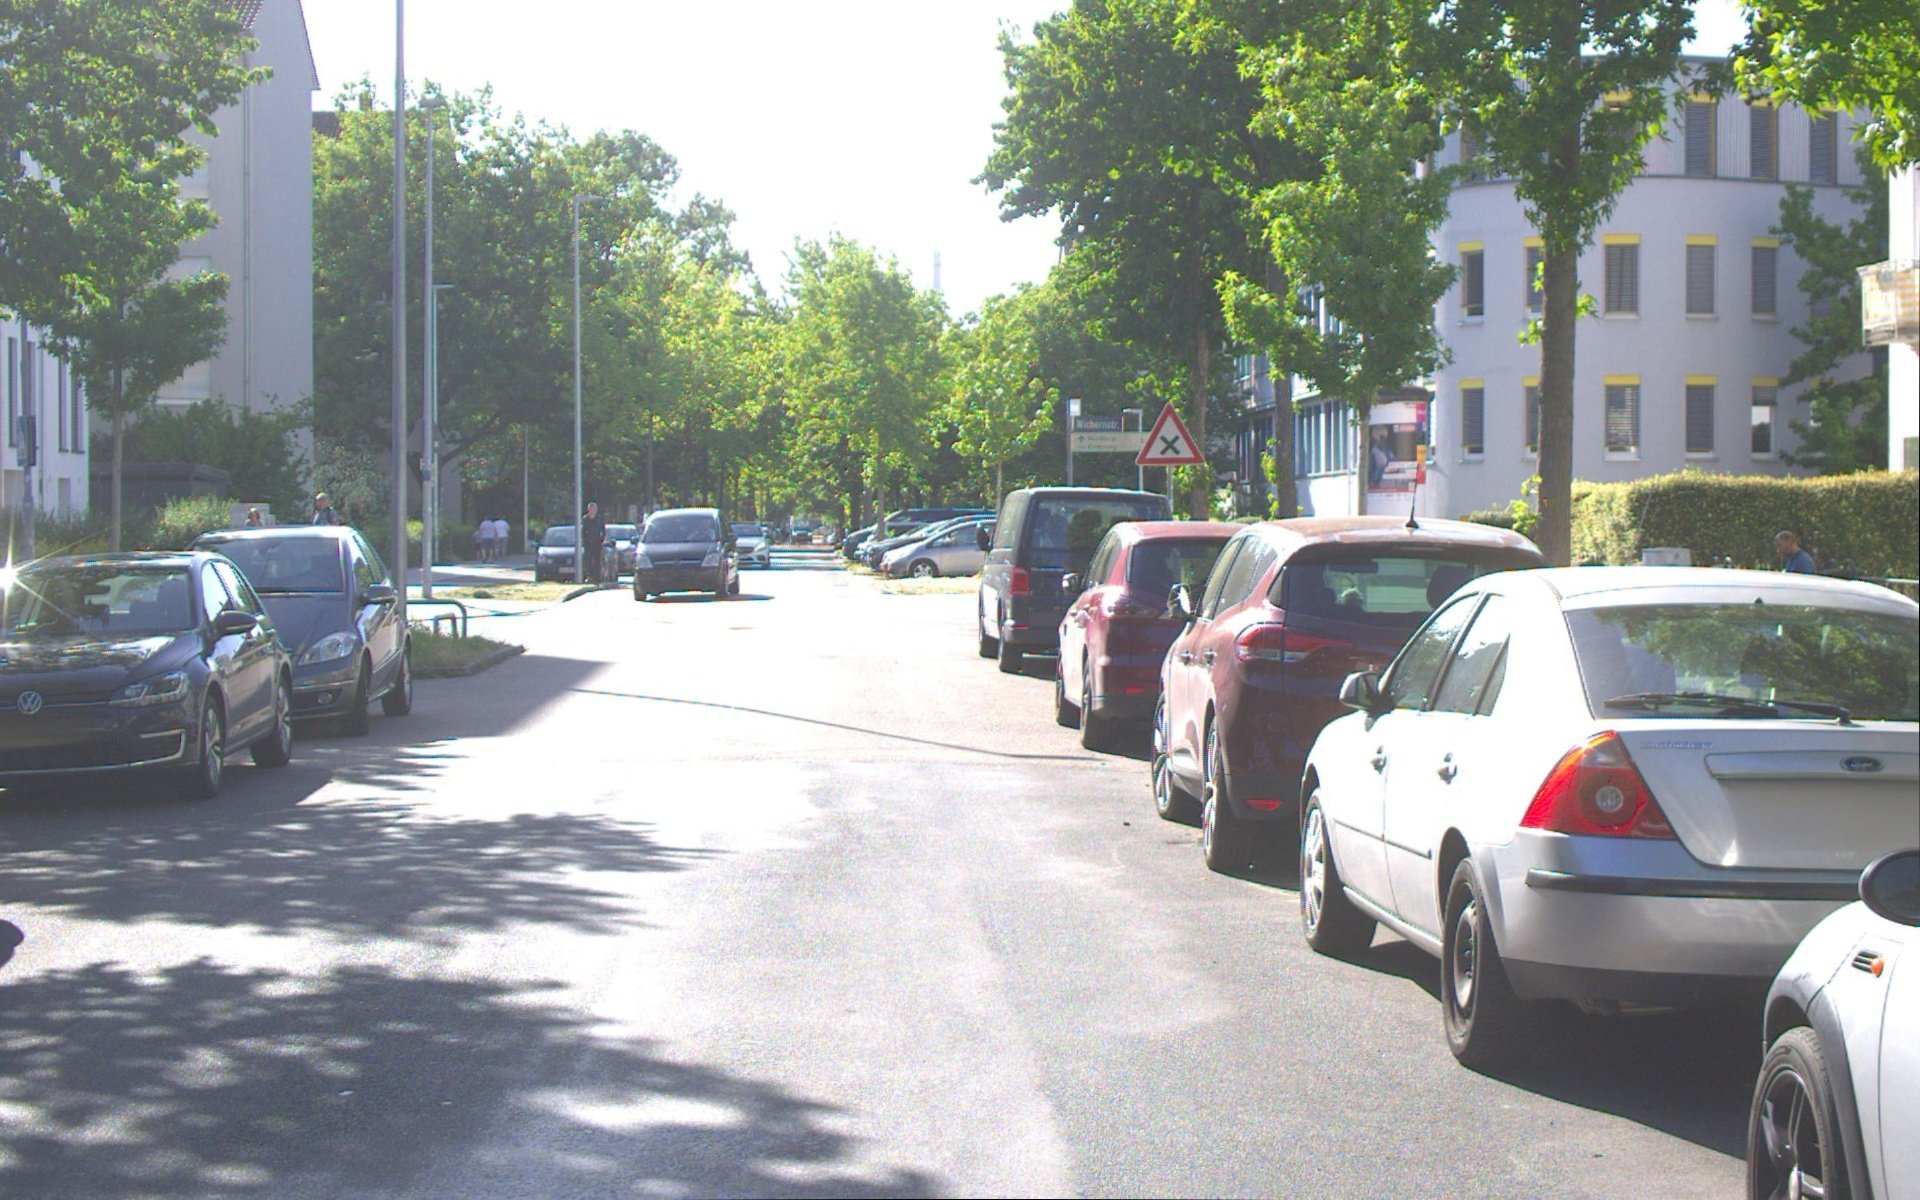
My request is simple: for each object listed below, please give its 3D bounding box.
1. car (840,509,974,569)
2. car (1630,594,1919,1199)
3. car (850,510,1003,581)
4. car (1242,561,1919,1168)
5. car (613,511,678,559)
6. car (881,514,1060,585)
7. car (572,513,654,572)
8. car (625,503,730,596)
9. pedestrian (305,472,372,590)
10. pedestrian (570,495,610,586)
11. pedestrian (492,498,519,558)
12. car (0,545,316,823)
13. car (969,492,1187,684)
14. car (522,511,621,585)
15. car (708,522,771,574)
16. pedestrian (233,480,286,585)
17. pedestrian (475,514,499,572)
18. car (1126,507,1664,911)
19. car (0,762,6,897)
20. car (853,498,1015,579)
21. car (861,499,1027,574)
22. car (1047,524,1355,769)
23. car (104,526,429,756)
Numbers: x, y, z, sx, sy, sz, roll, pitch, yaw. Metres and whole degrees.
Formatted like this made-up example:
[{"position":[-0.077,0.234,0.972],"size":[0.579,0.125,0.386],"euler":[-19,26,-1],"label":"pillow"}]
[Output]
[{"position":[-1.680,-1.930,108.618],"size":[3.986,1.875,2.001],"euler":[0,1,-9],"label":"car"},{"position":[2.389,0.766,5.353],"size":[1.788,1.448,3.782],"euler":[1,1,-3],"label":"car"},{"position":[-0.924,-1.476,92.522],"size":[3.986,1.824,2.000],"euler":[-1,2,-4],"label":"car"},{"position":[2.219,0.667,11.114],"size":[1.897,1.469,4.700],"euler":[2,1,-3],"label":"car"},{"position":[-10.812,-2.245,118.301],"size":[1.993,1.579,4.001],"euler":[-1,2,-2],"label":"car"},{"position":[0.234,-1.186,80.008],"size":[3.986,1.581,1.727],"euler":[-1,2,-6],"label":"car"},{"position":[-9.717,-1.630,96.541],"size":[1.993,1.579,4.001],"euler":[-1,2,-2],"label":"car"},{"position":[-5.074,-0.930,62.127],"size":[1.783,1.603,4.001],"euler":[-1,1,-3],"label":"car"},{"position":[-10.634,-1.184,58.868],"size":[0.859,2.006,0.981],"euler":[0,2,6],"label":"pedestrian"},{"position":[-7.736,-1.248,71.831],"size":[0.715,1.894,0.837],"euler":[-1,2,-12],"label":"pedestrian"},{"position":[-15.401,-2.439,116.382],"size":[0.859,2.006,0.981],"euler":[-1,2,-9],"label":"pedestrian"},{"position":[-5.300,0.453,21.166],"size":[1.993,1.448,4.263],"euler":[-3,2,-3],"label":"car"},{"position":[1.216,-0.184,37.680],"size":[1.970,1.942,4.986],"euler":[0,1,-3],"label":"car"},{"position":[-9.158,-1.256,81.265],"size":[1.993,1.665,4.001],"euler":[-1,2,-2],"label":"car"},{"position":[-6.990,-1.665,109.212],"size":[1.895,1.555,4.001],"euler":[-1,2,-3],"label":"car"},{"position":[-13.555,-1.306,66.537],"size":[0.859,2.006,0.981],"euler":[-1,2,-4],"label":"pedestrian"},{"position":[-15.502,-1.864,112.637],"size":[0.761,1.894,0.819],"euler":[-1,2,-8],"label":"pedestrian"},{"position":[2.006,0.421,17.187],"size":[1.907,1.693,4.314],"euler":[2,2,-2],"label":"car"},{"position":[-4.795,0.539,12.287],"size":[1.710,1.539,3.931],"euler":[-3,1,-2],"label":"car"},{"position":[-0.688,-1.576,88.022],"size":[3.986,2.007,2.000],"euler":[-1,2,-4],"label":"car"},{"position":[-0.414,-1.585,85.202],"size":[3.986,1.799,1.890],"euler":[-1,2,-4],"label":"car"},{"position":[1.693,0.272,25.468],"size":[1.834,1.594,4.159],"euler":[2,2,-2],"label":"car"},{"position":[-5.390,0.254,27.235],"size":[1.839,1.589,4.263],"euler":[-2,1,-3],"label":"car"}]
